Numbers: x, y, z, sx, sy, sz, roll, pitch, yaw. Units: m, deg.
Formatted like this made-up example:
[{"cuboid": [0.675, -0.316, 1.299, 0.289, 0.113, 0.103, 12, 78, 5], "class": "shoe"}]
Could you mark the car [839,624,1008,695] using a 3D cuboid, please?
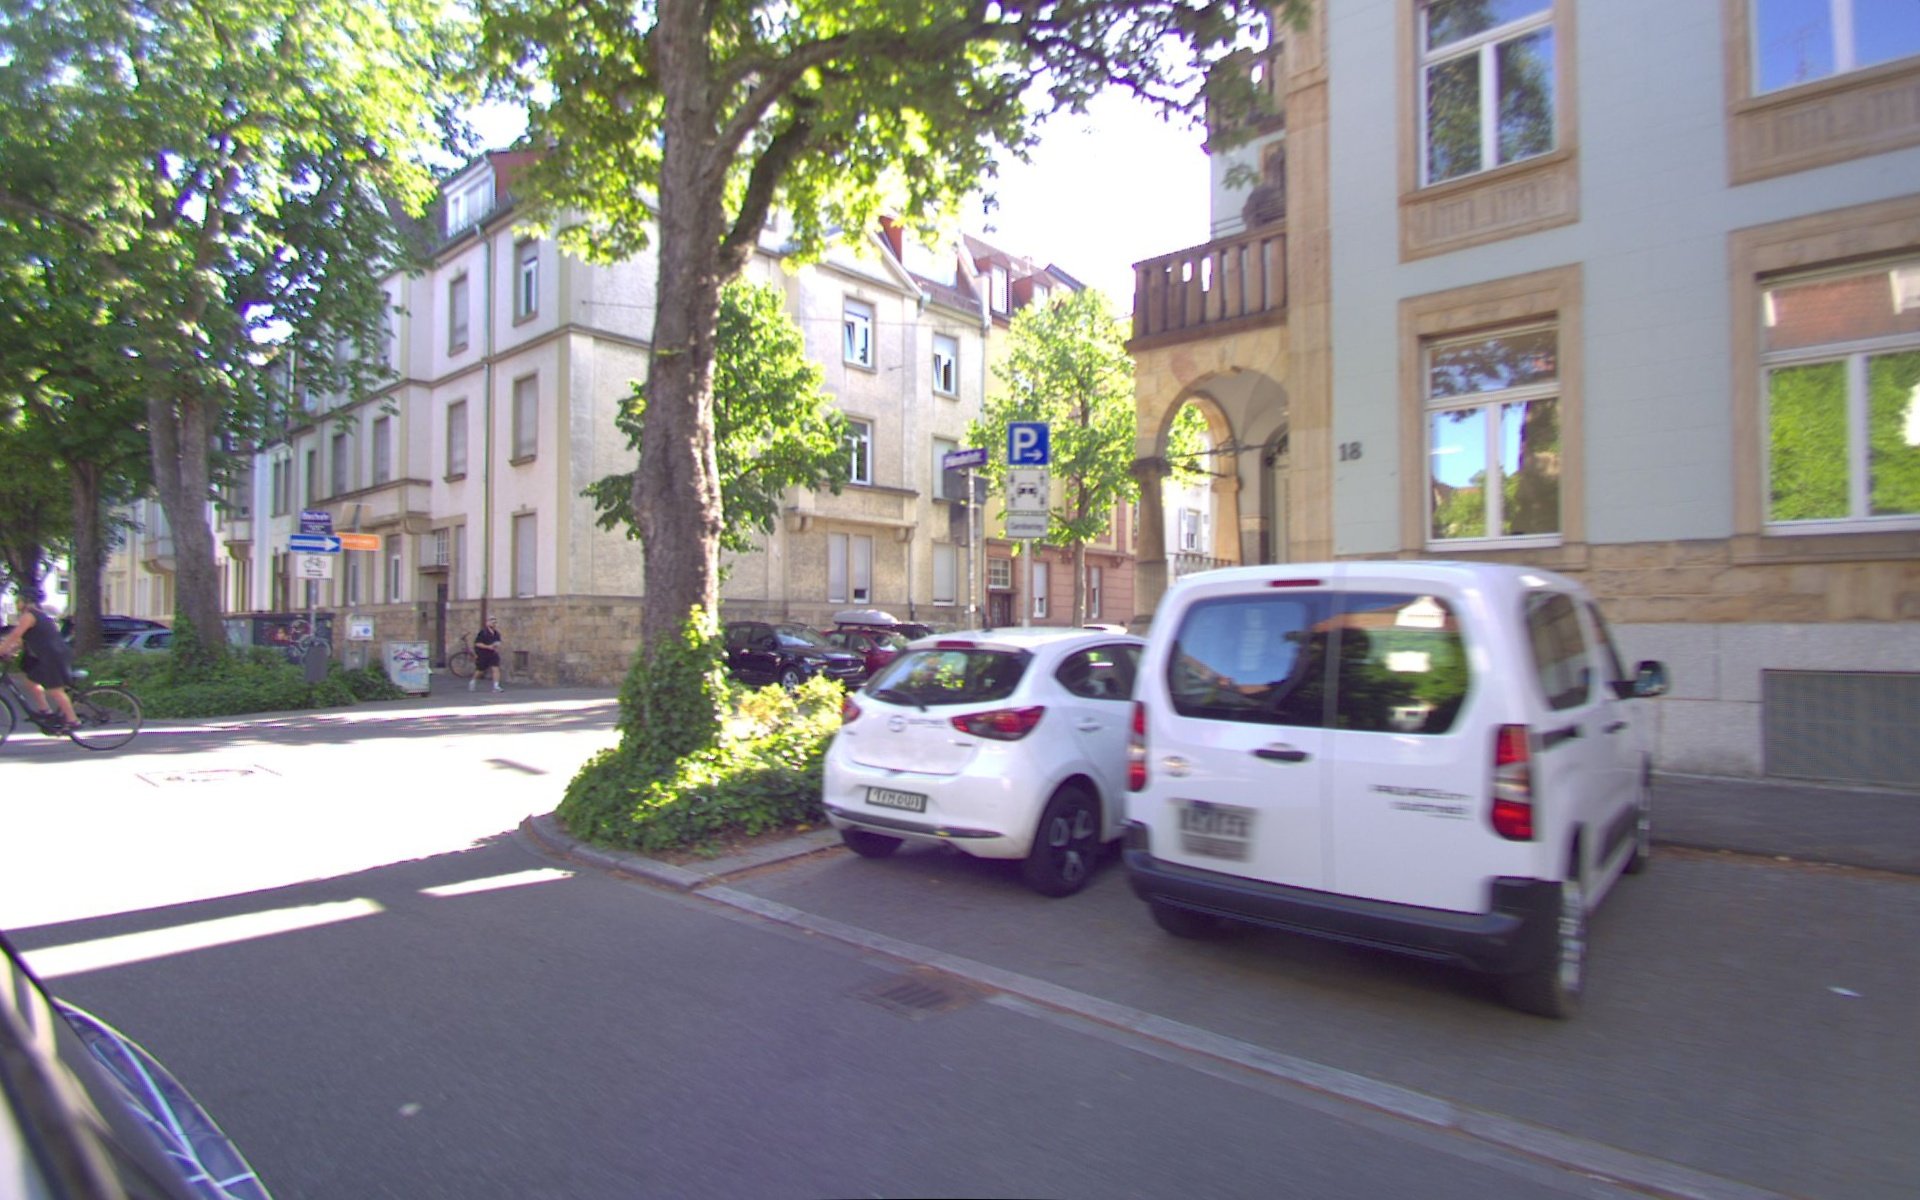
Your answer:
[{"cuboid": [-1.019, 1.483, 26.368, 4.417, 1.667, 1.766, -1, -2, 43], "class": "car"}]

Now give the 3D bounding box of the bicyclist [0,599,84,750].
[{"cuboid": [-10.217, 0.800, 11.150, 0.755, 1.583, 0.728, -2, -2, 40], "class": "bicyclist"}]

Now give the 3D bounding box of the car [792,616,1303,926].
[{"cuboid": [0.813, 0.899, 6.995, 1.720, 1.528, 3.686, -2, -2, 40], "class": "car"}]

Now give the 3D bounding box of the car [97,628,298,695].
[{"cuboid": [-19.304, 1.500, 25.702, 3.938, 1.443, 1.806, -1, 0, -42], "class": "car"}]

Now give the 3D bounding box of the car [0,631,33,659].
[{"cuboid": [-50.576, 2.358, 52.547, 1.541, 1.440, 3.451, -2, -2, 40], "class": "car"}]

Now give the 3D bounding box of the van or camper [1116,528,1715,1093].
[{"cuboid": [2.642, 0.734, 5.307, 1.808, 1.787, 3.903, -3, -3, 40], "class": "van or camper"}]

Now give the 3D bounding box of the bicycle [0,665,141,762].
[{"cuboid": [-10.253, 1.234, 11.088, 0.594, 0.994, 1.895, -2, -3, 40], "class": "bicycle"}]

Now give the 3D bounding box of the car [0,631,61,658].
[{"cuboid": [-51.557, 2.434, 55.271, 1.541, 1.440, 3.451, -2, -2, 40], "class": "car"}]

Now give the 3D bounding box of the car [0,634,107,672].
[{"cuboid": [-37.630, 2.150, 41.788, 1.541, 1.440, 3.451, -1, -2, 40], "class": "car"}]

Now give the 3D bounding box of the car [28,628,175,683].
[{"cuboid": [-28.342, 1.807, 33.473, 1.681, 1.704, 3.451, -2, -3, 40], "class": "car"}]

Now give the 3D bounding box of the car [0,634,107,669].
[{"cuboid": [-40.376, 2.271, 45.084, 1.541, 1.440, 3.451, -1, -2, 40], "class": "car"}]

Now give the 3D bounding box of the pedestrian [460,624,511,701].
[{"cuboid": [-10.320, 1.345, 22.021, 0.978, 1.620, 0.658, -2, -2, 41], "class": "pedestrian"}]

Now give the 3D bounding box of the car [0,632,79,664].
[{"cuboid": [-42.595, 2.167, 46.131, 1.541, 1.440, 3.451, -2, -2, 40], "class": "car"}]

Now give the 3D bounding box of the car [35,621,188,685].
[{"cuboid": [-26.875, 1.653, 32.117, 1.820, 1.907, 3.451, -2, -3, 40], "class": "car"}]

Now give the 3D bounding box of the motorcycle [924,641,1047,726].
[{"cuboid": [0.393, 1.265, 15.626, 1.815, 1.249, 0.590, 1, -2, -24], "class": "motorcycle"}]

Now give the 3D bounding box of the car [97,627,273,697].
[{"cuboid": [-22.380, 1.725, 29.431, 3.934, 1.775, 2.005, 0, 0, -35], "class": "car"}]

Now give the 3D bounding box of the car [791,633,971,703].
[{"cuboid": [-1.946, 1.554, 24.078, 4.281, 1.452, 1.845, -1, -2, 43], "class": "car"}]

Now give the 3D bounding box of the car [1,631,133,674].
[{"cuboid": [-32.649, 1.896, 37.073, 1.440, 1.504, 3.451, -2, -3, 40], "class": "car"}]

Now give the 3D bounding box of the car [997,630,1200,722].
[{"cuboid": [2.618, 1.301, 18.555, 1.894, 1.475, 3.852, -2, -2, 42], "class": "car"}]

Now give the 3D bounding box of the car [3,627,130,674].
[{"cuboid": [-33.940, 1.872, 38.515, 1.460, 1.704, 3.451, -2, -2, 40], "class": "car"}]

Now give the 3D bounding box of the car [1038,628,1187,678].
[{"cuboid": [4.798, 1.633, 32.141, 4.417, 1.420, 1.845, -1, -2, 43], "class": "car"}]

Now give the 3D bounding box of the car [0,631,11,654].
[{"cuboid": [-61.671, 2.667, 63.115, 1.541, 1.440, 3.451, -2, -2, 40], "class": "car"}]

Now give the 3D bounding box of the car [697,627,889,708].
[{"cuboid": [-3.773, 1.416, 22.424, 4.417, 1.566, 1.845, -1, -2, 42], "class": "car"}]

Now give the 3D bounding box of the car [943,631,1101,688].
[{"cuboid": [1.738, 1.678, 29.498, 4.417, 1.496, 1.845, -1, -2, 43], "class": "car"}]
